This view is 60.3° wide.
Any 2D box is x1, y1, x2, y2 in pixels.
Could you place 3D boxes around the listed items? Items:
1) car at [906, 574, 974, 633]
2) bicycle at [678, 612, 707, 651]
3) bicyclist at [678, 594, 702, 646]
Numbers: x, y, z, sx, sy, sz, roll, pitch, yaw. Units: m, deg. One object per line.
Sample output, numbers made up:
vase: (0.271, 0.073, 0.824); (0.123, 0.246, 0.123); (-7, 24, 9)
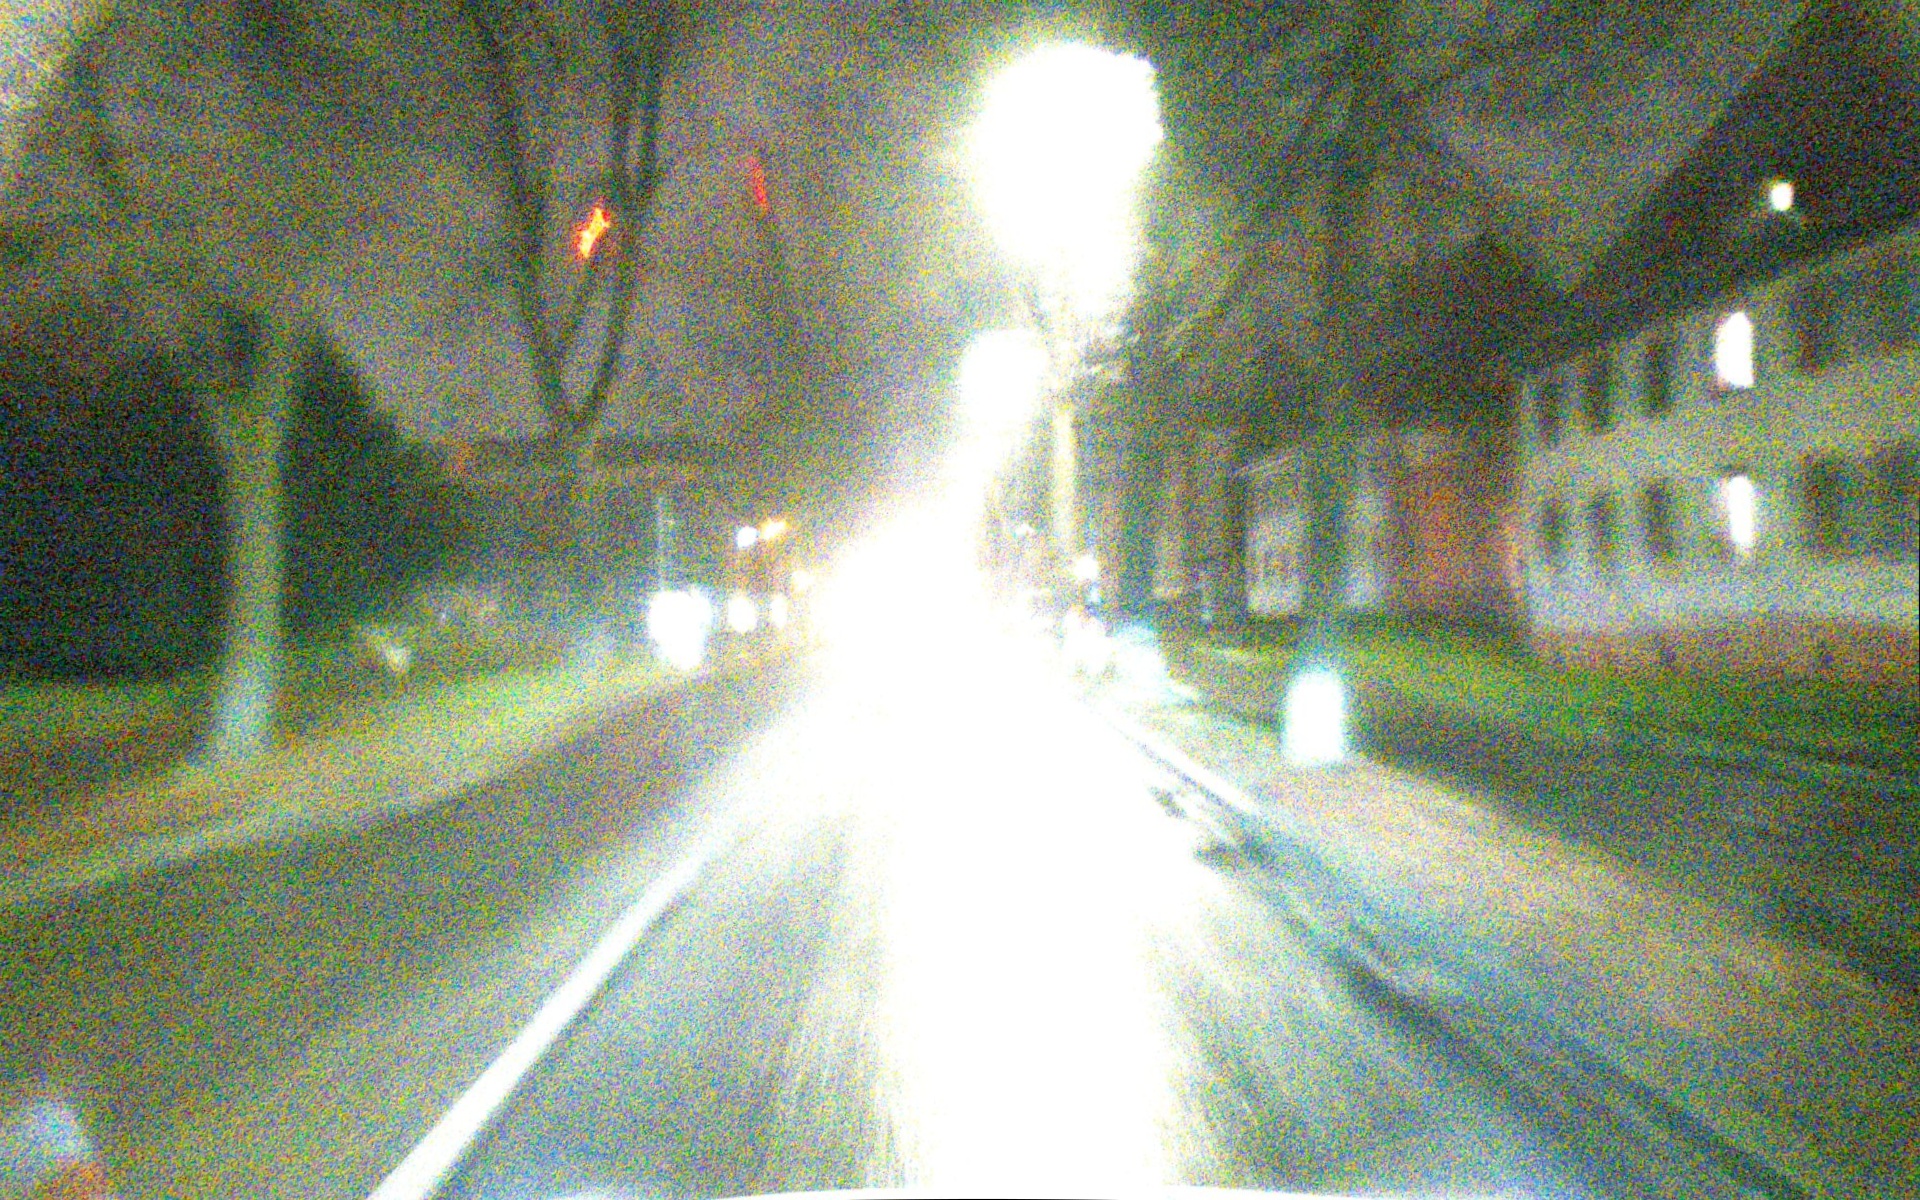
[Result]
car: (-0.663, 0.108, 50.992); (1.954, 1.713, 3.998); (1, 0, -3)
bicycle: (-8.667, 1.012, 53.617); (0.617, 1.181, 2.313); (0, 0, -2)
bicyclist: (-8.673, 0.626, 53.203); (0.623, 1.622, 0.960); (0, 1, -2)
